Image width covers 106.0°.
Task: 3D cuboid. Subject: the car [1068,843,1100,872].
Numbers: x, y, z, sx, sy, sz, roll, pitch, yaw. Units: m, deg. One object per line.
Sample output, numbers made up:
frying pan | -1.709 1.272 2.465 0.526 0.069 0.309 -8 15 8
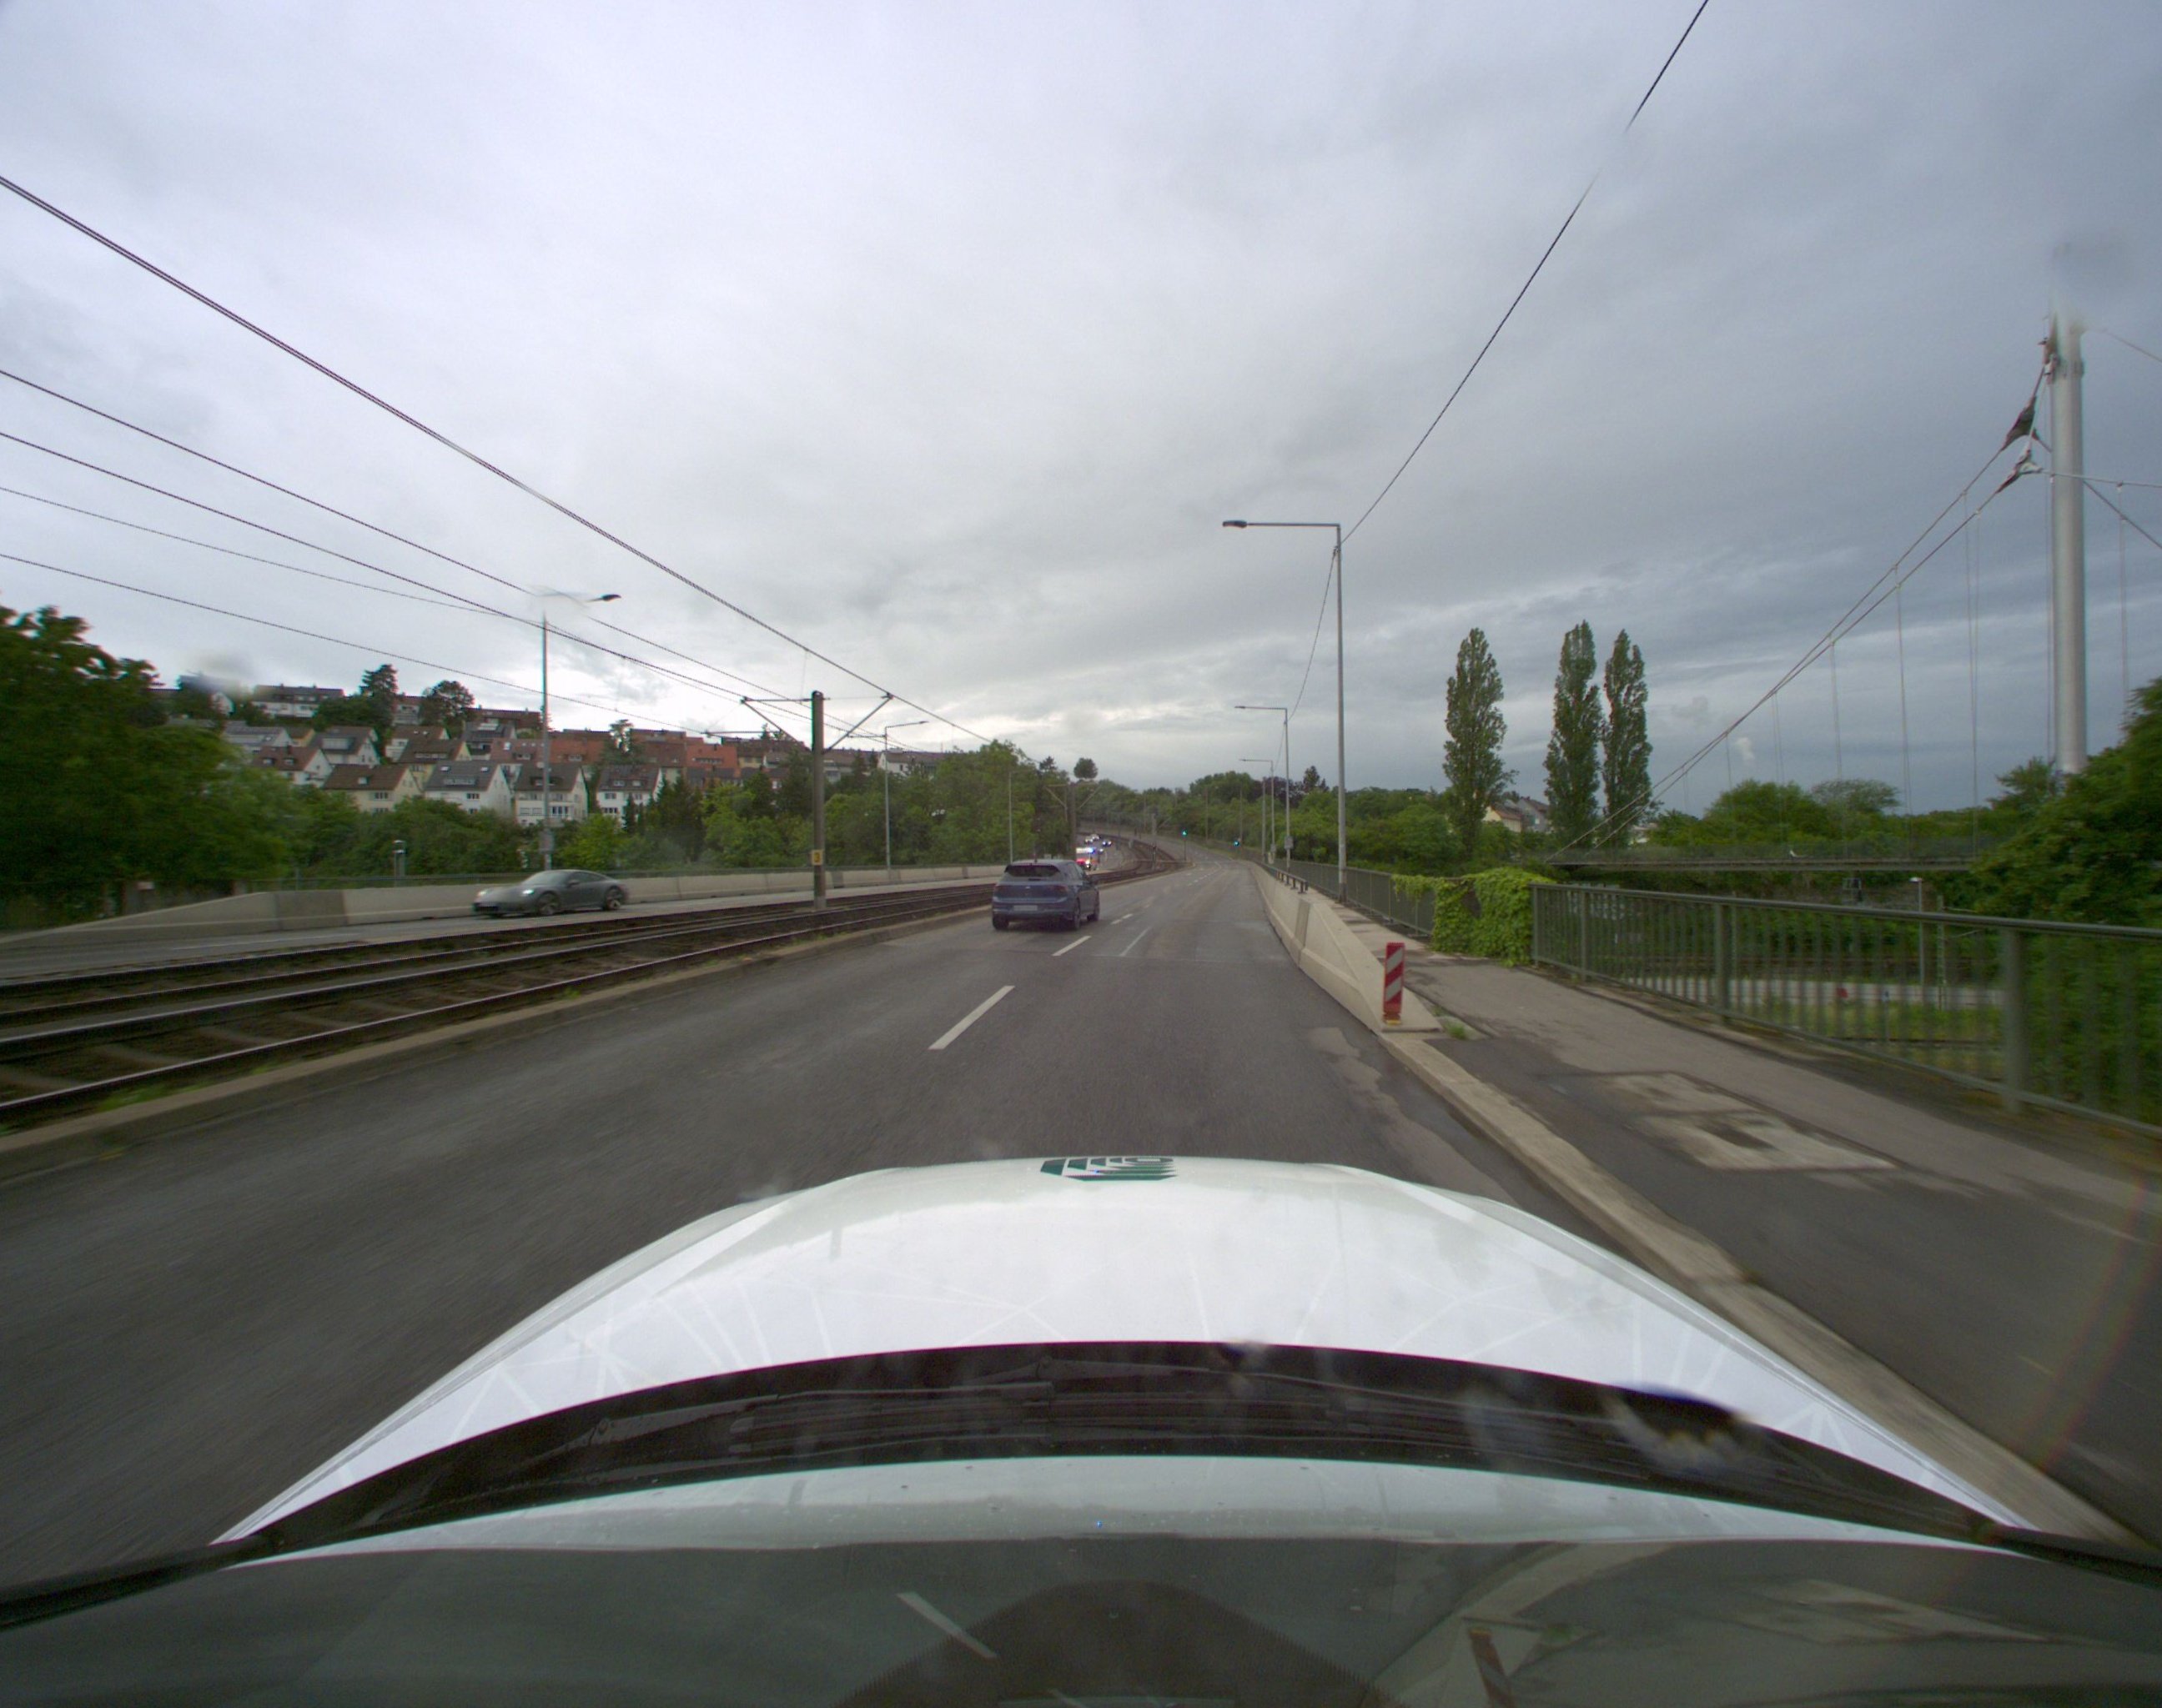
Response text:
car | 0.381 0.414 91.886 2.374 3.115 6.376 0 -1 11

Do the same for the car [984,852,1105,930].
car | -0.672 0.737 17.919 1.752 1.501 4.012 0 -1 11

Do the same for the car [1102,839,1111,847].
car | 5.366 -2.251 168.781 1.597 1.493 3.015 -2 1 -3

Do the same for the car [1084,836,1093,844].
car | 1.658 -3.078 181.078 1.815 1.515 4.528 -1 -1 0

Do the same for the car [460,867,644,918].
car | -15.381 1.069 24.038 1.825 1.314 4.633 -2 -1 11

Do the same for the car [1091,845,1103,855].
car | 2.859 -0.788 147.104 1.963 1.597 5.181 -1 -2 -1

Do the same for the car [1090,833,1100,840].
car | 3.270 -4.168 193.324 1.727 1.437 4.482 -1 -1 -6
